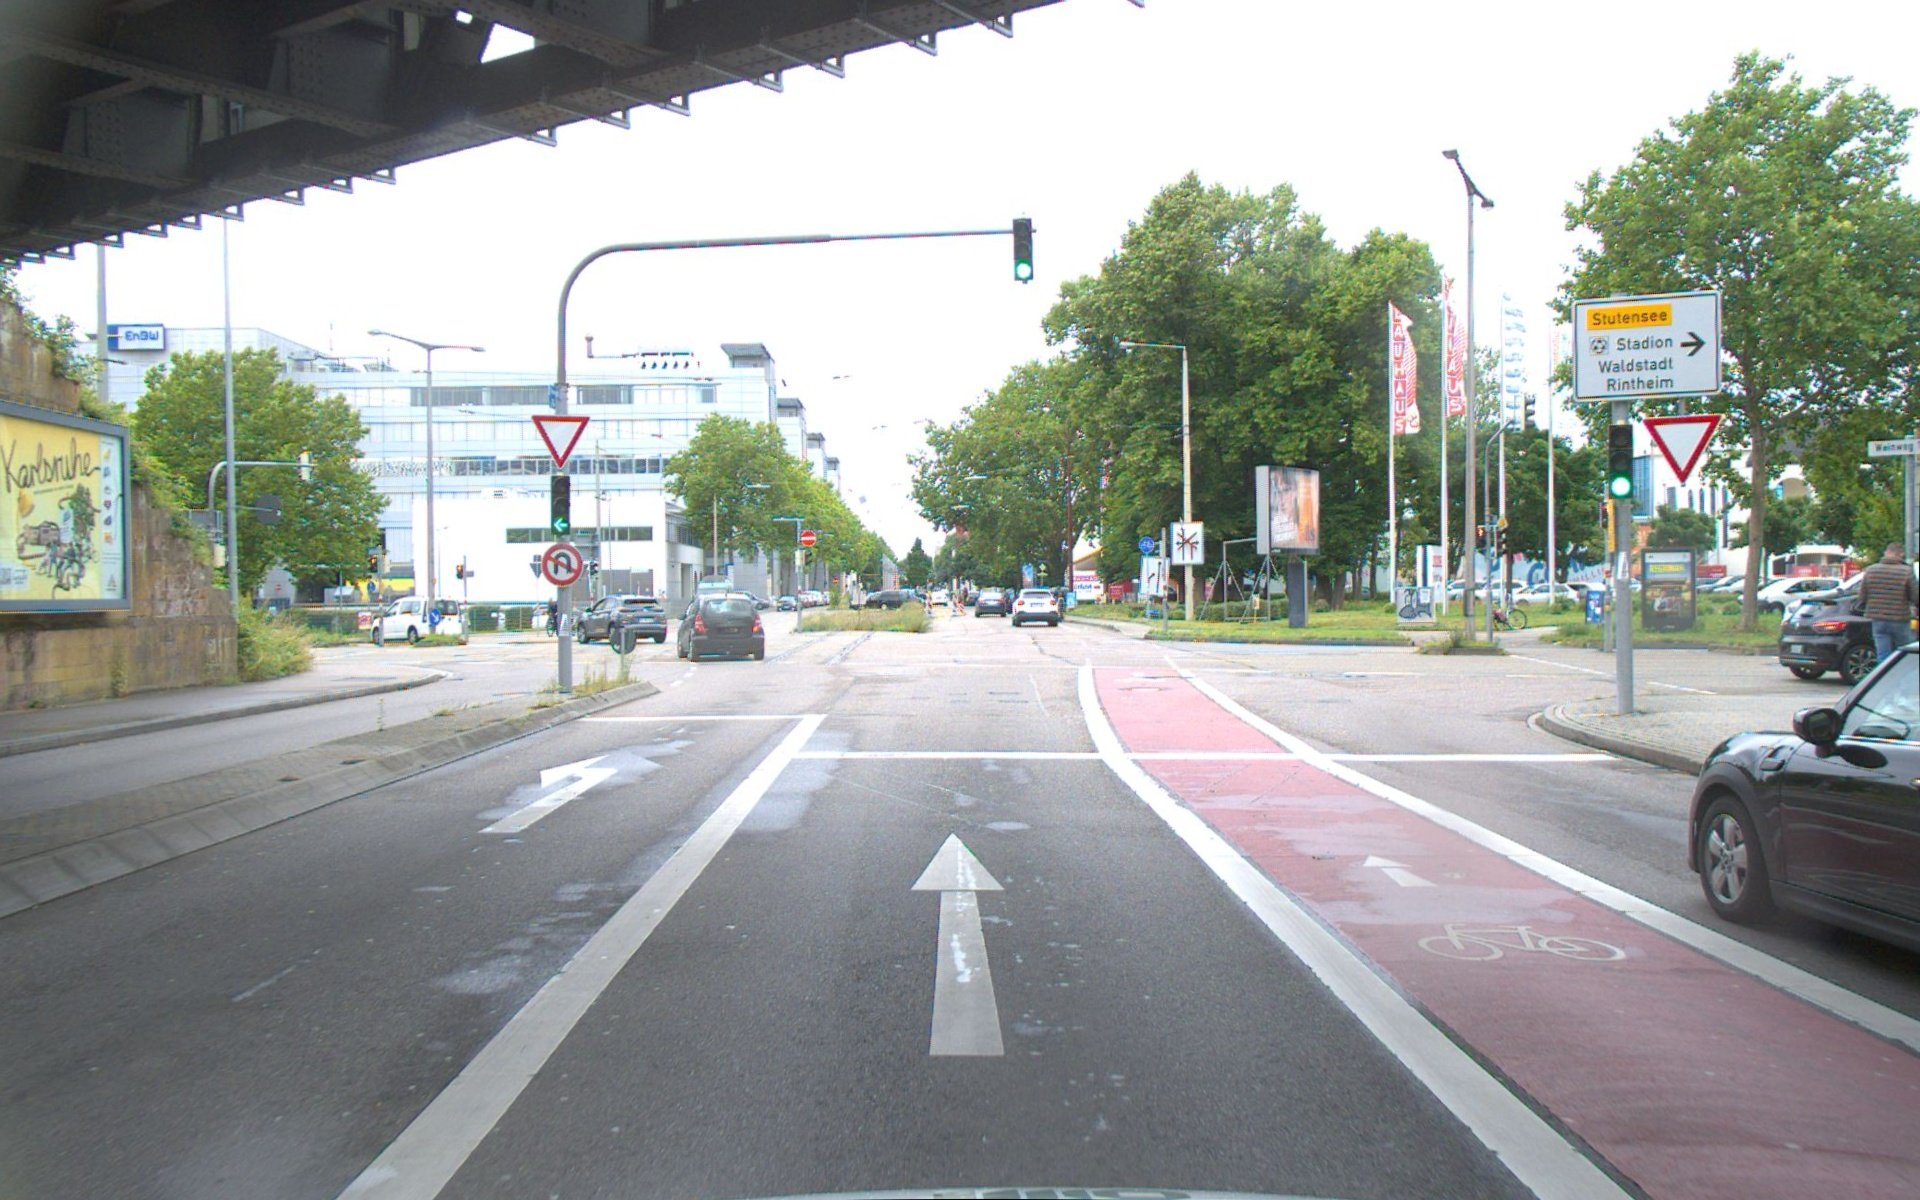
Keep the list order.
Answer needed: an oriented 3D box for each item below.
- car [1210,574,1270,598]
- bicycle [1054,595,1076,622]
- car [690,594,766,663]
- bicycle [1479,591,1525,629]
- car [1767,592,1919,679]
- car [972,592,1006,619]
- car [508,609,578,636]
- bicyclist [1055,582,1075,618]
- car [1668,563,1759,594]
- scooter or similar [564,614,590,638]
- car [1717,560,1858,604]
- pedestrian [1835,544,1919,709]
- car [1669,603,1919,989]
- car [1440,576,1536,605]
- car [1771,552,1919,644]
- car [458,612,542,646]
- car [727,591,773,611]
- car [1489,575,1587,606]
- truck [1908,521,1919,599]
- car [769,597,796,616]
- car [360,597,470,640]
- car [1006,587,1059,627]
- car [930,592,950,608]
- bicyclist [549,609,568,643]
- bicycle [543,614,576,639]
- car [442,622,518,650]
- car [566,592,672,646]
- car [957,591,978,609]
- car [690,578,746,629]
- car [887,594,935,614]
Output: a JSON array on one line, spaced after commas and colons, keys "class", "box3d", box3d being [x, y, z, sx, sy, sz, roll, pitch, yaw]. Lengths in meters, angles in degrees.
[{"class": "car", "box3d": [22.593, -1.118, 133.530, 4.461, 1.821, 2.073, -1, 1, -2]}, {"class": "bicycle", "box3d": [5.012, 0.397, 79.013, 0.800, 1.234, 2.682, -2, 0, -1]}, {"class": "car", "box3d": [-5.613, 0.640, 39.900, 1.736, 1.554, 3.662, 0, 1, -9]}, {"class": "bicycle", "box3d": [17.042, 0.308, 51.968, 1.790, 1.137, 0.481, -2, 0, -40]}, {"class": "car", "box3d": [14.689, 0.538, 25.888, 3.336, 1.303, 1.654, 0, 1, 4]}, {"class": "car", "box3d": [1.685, 0.320, 96.872, 1.651, 1.540, 3.703, 0, 1, -4]}, {"class": "car", "box3d": [-29.089, 1.564, 115.513, 4.437, 1.662, 1.911, -2, 0, -4]}, {"class": "bicyclist", "box3d": [4.997, -0.014, 79.009, 0.800, 1.658, 1.235, -2, 0, -2]}, {"class": "car", "box3d": [45.019, -1.298, 98.856, 4.466, 1.706, 2.152, -2, 0, -7]}, {"class": "scooter or similar", "box3d": [-17.983, 1.223, 77.661, 0.631, 1.081, 1.451, 0, 1, 14]}, {"class": "car", "box3d": [29.691, -0.640, 59.409, 4.139, 1.523, 1.929, 0, 0, -5]}, {"class": "pedestrian", "box3d": [9.587, 0.266, 17.302, 0.728, 1.668, 0.777, -1, 0, 30]}, {"class": "car", "box3d": [4.538, 0.774, 6.716, 1.645, 1.456, 3.773, 0, 1, -1]}, {"class": "car", "box3d": [28.919, -0.501, 90.699, 4.581, 1.523, 2.169, 0, 0, -3]}, {"class": "car", "box3d": [19.506, -0.025, 34.663, 4.327, 1.861, 1.876, -1, -1, 32]}, {"class": "car", "box3d": [-22.848, 1.452, 82.205, 3.580, 1.554, 1.775, -2, 0, 17]}, {"class": "car", "box3d": [-20.692, 0.055, 163.093, 4.324, 1.814, 1.824, -2, 0, -3]}, {"class": "car", "box3d": [29.383, -0.485, 84.152, 4.358, 1.523, 1.929, 0, 0, -6]}, {"class": "truck", "box3d": [46.159, -1.870, 73.200, 2.880, 3.626, 9.246, 0, 0, -2]}, {"class": "car", "box3d": [-15.216, 0.588, 142.103, 1.782, 1.501, 4.130, -3, -1, 1]}, {"class": "car", "box3d": [-21.149, 0.684, 64.120, 4.923, 1.554, 1.956, 1, 1, 43]}, {"class": "car", "box3d": [2.989, 0.265, 68.759, 1.788, 1.628, 3.773, 0, 1, -4]}, {"class": "car", "box3d": [-2.037, -0.045, 165.538, 1.760, 1.540, 3.703, 0, 1, -4]}, {"class": "bicyclist", "box3d": [-18.419, 1.179, 75.921, 0.631, 1.545, 0.627, 0, 1, 14]}, {"class": "bicycle", "box3d": [-18.398, 1.215, 75.995, 0.631, 1.081, 2.002, 0, 1, 14]}, {"class": "car", "box3d": [-29.827, 2.244, 102.930, 4.125, 1.559, 1.913, -2, 0, 0]}, {"class": "car", "box3d": [-11.148, 0.586, 53.956, 1.765, 1.681, 3.609, -1, 1, -44]}, {"class": "car", "box3d": [0.696, -0.002, 161.857, 1.839, 1.661, 3.998, -2, 0, -3]}, {"class": "car", "box3d": [-14.357, 0.172, 98.468, 2.280, 2.875, 5.950, -2, 0, 1]}, {"class": "car", "box3d": [-3.950, 0.324, 132.685, 3.805, 1.583, 1.825, 0, 0, -2]}]
